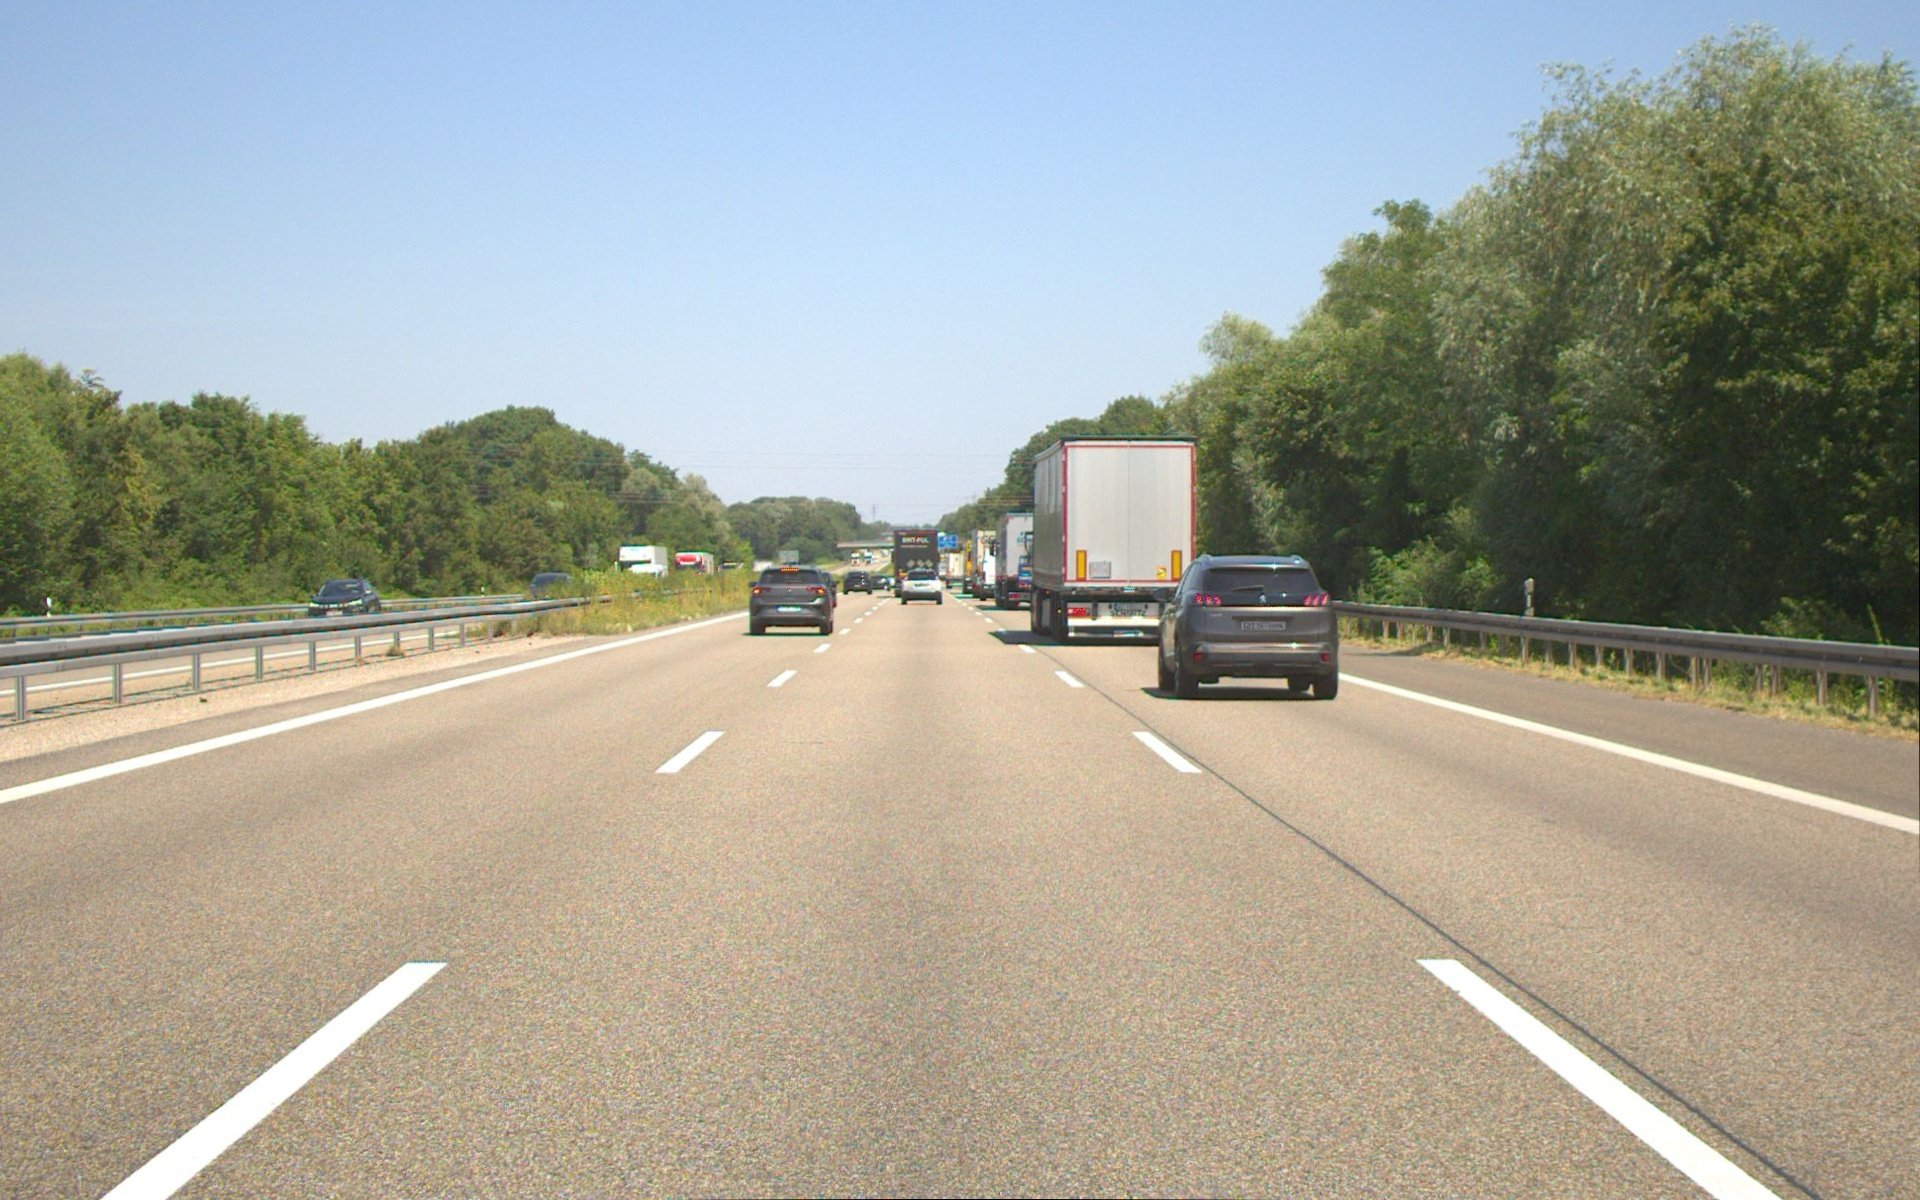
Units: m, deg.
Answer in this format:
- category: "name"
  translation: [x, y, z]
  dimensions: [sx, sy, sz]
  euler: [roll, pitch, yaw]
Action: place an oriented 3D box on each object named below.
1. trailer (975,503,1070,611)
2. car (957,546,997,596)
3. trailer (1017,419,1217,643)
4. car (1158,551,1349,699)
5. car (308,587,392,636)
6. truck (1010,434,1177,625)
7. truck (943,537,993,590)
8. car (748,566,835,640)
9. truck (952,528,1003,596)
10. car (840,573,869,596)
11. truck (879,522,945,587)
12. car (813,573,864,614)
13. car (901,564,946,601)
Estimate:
- category: "trailer"
  translation: [2.328, -1.687, 131.575]
  dimensions: [3.122, 3.913, 9.937]
  euler: [1, 1, -1]
- category: "car"
  translation: [0.848, -1.484, 174.117]
  dimensions: [1.907, 2.417, 4.286]
  euler: [1, 1, 0]
- category: "trailer"
  translation: [3.074, -1.353, 71.785]
  dimensions: [3.434, 4.167, 13.633]
  euler: [1, 0, 0]
- category: "car"
  translation: [3.357, 0.247, 39.995]
  dimensions: [1.845, 1.623, 4.135]
  euler: [0, 1, 0]
- category: "car"
  translation: [-19.113, 0.341, 107.909]
  dimensions: [1.862, 1.396, 4.532]
  euler: [-2, 1, -1]
- category: "truck"
  translation: [3.003, -1.551, 79.422]
  dimensions: [3.464, 4.163, 6.844]
  euler: [1, 0, 0]
- category: "truck"
  translation: [0.599, -2.687, 251.783]
  dimensions: [3.489, 3.713, 7.108]
  euler: [1, 1, 1]
- category: "car"
  translation: [-3.758, 0.044, 77.111]
  dimensions: [1.759, 1.525, 4.286]
  euler: [1, 1, 0]
- category: "truck"
  translation: [0.997, -2.201, 195.683]
  dimensions: [2.792, 3.713, 7.108]
  euler: [1, 1, 1]
- category: "car"
  translation: [-7.363, -1.083, 240.480]
  dimensions: [1.907, 1.525, 4.286]
  euler: [1, 1, 0]
- category: "truck"
  translation: [-2.821, -2.741, 204.005]
  dimensions: [3.667, 3.713, 7.108]
  euler: [1, 1, 1]
- category: "car"
  translation: [-4.855, -0.274, 137.486]
  dimensions: [1.900, 1.525, 4.084]
  euler: [1, 1, 0]
- category: "car"
  translation: [-1.597, -0.768, 150.977]
  dimensions: [1.900, 1.525, 4.084]
  euler: [1, 1, 0]
